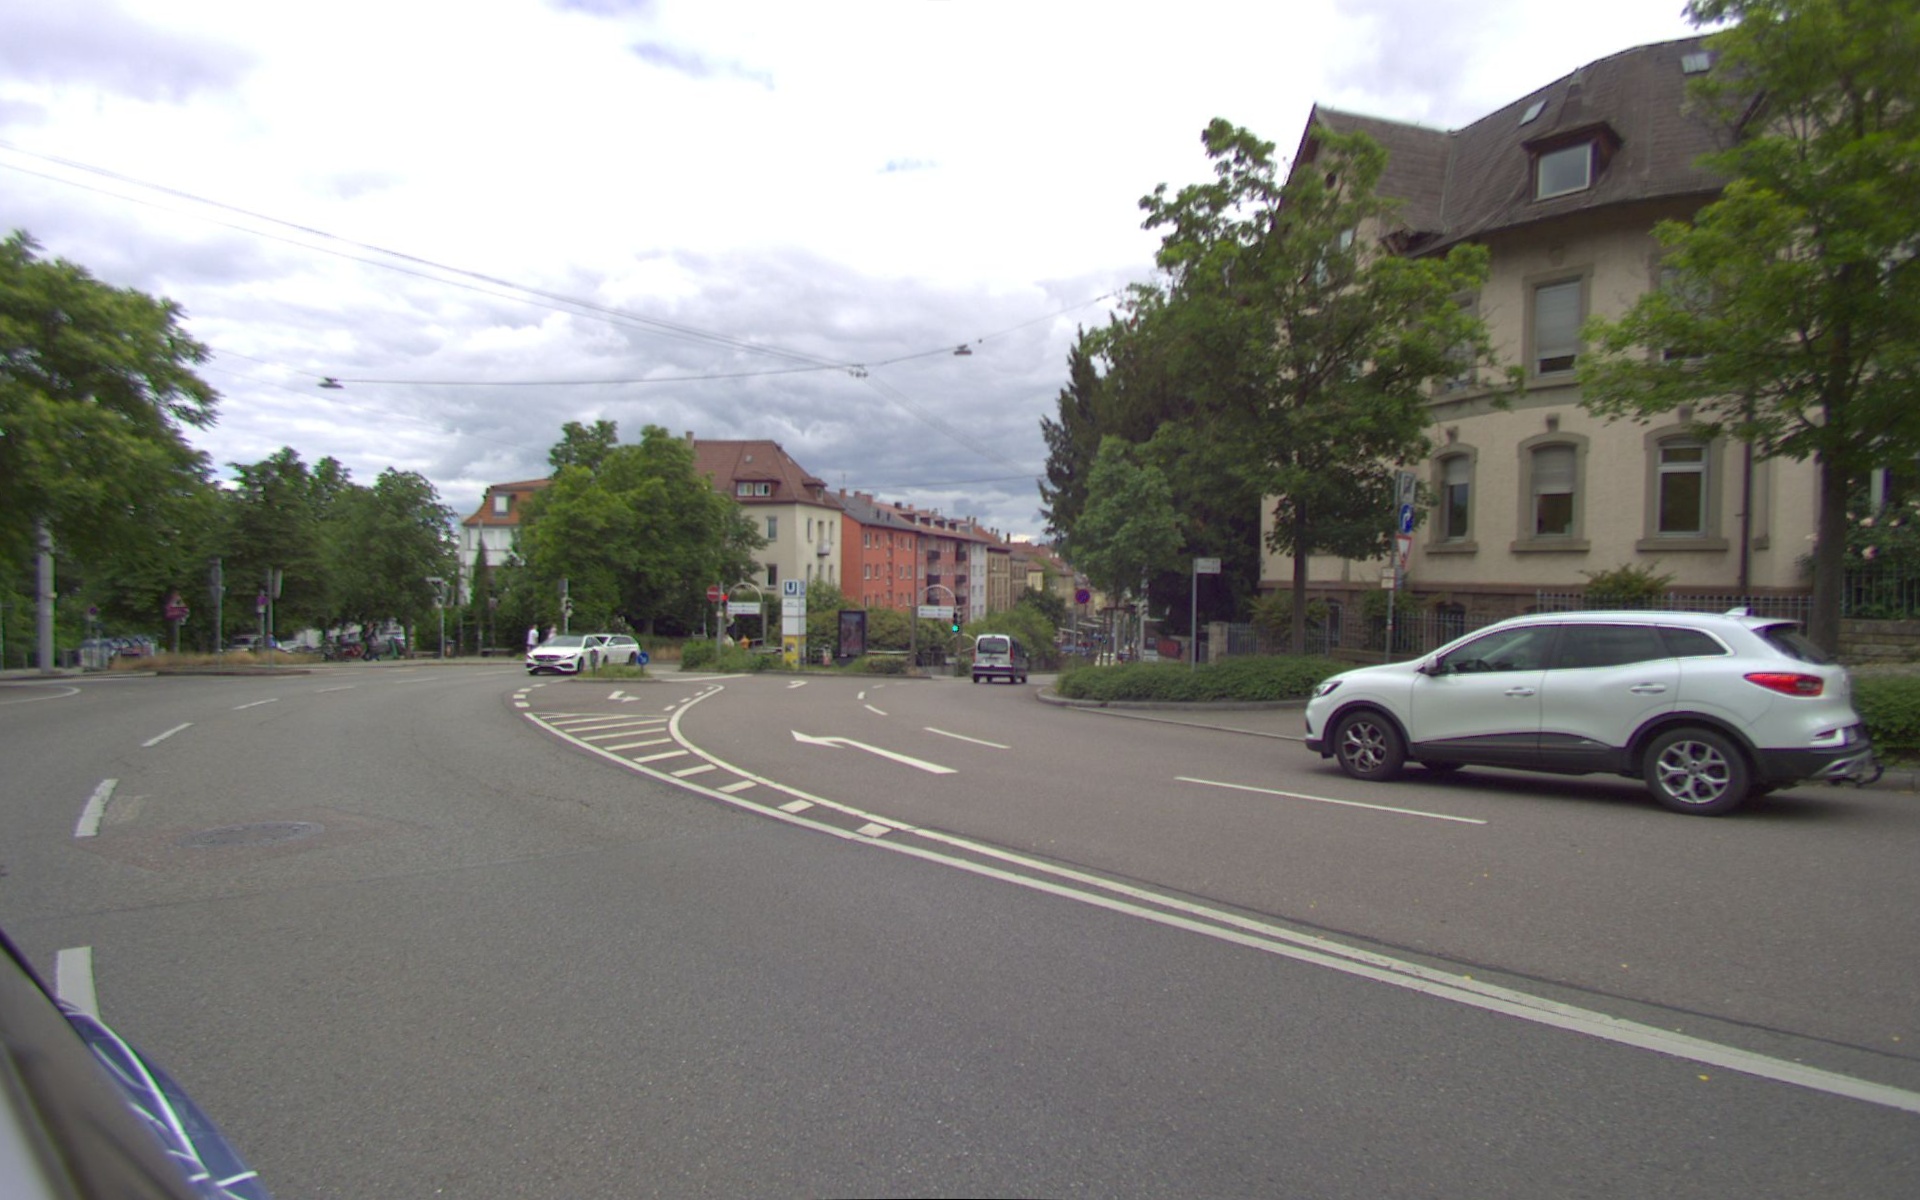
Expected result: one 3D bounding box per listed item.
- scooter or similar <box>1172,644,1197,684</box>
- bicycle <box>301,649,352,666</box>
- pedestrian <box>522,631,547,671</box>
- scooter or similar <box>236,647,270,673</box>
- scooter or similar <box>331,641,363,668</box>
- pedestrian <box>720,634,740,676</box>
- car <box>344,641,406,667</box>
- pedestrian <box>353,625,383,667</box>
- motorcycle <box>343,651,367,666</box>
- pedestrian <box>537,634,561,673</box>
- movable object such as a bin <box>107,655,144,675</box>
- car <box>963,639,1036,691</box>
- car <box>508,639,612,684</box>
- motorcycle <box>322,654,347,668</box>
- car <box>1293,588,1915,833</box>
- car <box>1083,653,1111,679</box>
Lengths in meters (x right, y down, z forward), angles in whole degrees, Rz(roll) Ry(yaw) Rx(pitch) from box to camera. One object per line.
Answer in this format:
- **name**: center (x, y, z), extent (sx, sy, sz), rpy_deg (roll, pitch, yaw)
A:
- **scooter or similar**: center (6.682, 1.909, 30.125), extent (0.546, 1.169, 1.206), rpy_deg (0, -5, 5)
- **bicycle**: center (-44.233, 4.037, 70.728), extent (0.919, 1.154, 2.925), rpy_deg (-2, -3, 29)
- **pedestrian**: center (-19.066, 2.278, 45.312), extent (0.612, 1.725, 0.723), rpy_deg (2, -3, 18)
- **scooter or similar**: center (-35.207, 2.964, 50.428), extent (0.463, 1.257, 1.304), rpy_deg (-3, -3, 36)
- **scooter or similar**: center (-29.559, 2.620, 48.805), extent (1.228, 1.235, 0.502), rpy_deg (-1, -3, -7)
- **pedestrian**: center (-10.563, 2.542, 46.489), extent (0.702, 1.875, 0.610), rpy_deg (-3, -5, 21)
- **car**: center (-46.044, 4.268, 79.743), extent (3.724, 2.029, 2.005), rpy_deg (1, -3, -13)
- **pedestrian**: center (-27.440, 2.144, 46.925), extent (0.962, 1.901, 0.847), rpy_deg (-2, -3, 33)
- **motorcycle**: center (-45.110, 4.358, 75.467), extent (0.744, 1.041, 2.058), rpy_deg (0, -3, -6)
- **pedestrian**: center (-19.047, 2.479, 46.889), extent (0.612, 1.725, 0.723), rpy_deg (2, -3, 18)
- **movable object such as a bin**: center (-49.519, 3.868, 60.055), extent (1.055, 1.175, 1.305), rpy_deg (-1, -3, 22)
- **car**: center (1.546, 2.432, 38.472), extent (1.900, 1.844, 4.018), rpy_deg (-1, -3, 16)
- **car**: center (-14.149, 2.167, 36.064), extent (1.972, 1.409, 4.229), rpy_deg (3, -3, 0)
- **motorcycle**: center (-46.325, 4.517, 75.010), extent (0.744, 1.041, 2.058), rpy_deg (0, -3, -6)
- **car**: center (5.526, 0.864, 9.203), extent (1.872, 1.667, 4.382), rpy_deg (2, -3, -41)
- **car**: center (11.157, 5.325, 82.239), extent (1.979, 2.029, 3.985), rpy_deg (-1, -2, 12)
